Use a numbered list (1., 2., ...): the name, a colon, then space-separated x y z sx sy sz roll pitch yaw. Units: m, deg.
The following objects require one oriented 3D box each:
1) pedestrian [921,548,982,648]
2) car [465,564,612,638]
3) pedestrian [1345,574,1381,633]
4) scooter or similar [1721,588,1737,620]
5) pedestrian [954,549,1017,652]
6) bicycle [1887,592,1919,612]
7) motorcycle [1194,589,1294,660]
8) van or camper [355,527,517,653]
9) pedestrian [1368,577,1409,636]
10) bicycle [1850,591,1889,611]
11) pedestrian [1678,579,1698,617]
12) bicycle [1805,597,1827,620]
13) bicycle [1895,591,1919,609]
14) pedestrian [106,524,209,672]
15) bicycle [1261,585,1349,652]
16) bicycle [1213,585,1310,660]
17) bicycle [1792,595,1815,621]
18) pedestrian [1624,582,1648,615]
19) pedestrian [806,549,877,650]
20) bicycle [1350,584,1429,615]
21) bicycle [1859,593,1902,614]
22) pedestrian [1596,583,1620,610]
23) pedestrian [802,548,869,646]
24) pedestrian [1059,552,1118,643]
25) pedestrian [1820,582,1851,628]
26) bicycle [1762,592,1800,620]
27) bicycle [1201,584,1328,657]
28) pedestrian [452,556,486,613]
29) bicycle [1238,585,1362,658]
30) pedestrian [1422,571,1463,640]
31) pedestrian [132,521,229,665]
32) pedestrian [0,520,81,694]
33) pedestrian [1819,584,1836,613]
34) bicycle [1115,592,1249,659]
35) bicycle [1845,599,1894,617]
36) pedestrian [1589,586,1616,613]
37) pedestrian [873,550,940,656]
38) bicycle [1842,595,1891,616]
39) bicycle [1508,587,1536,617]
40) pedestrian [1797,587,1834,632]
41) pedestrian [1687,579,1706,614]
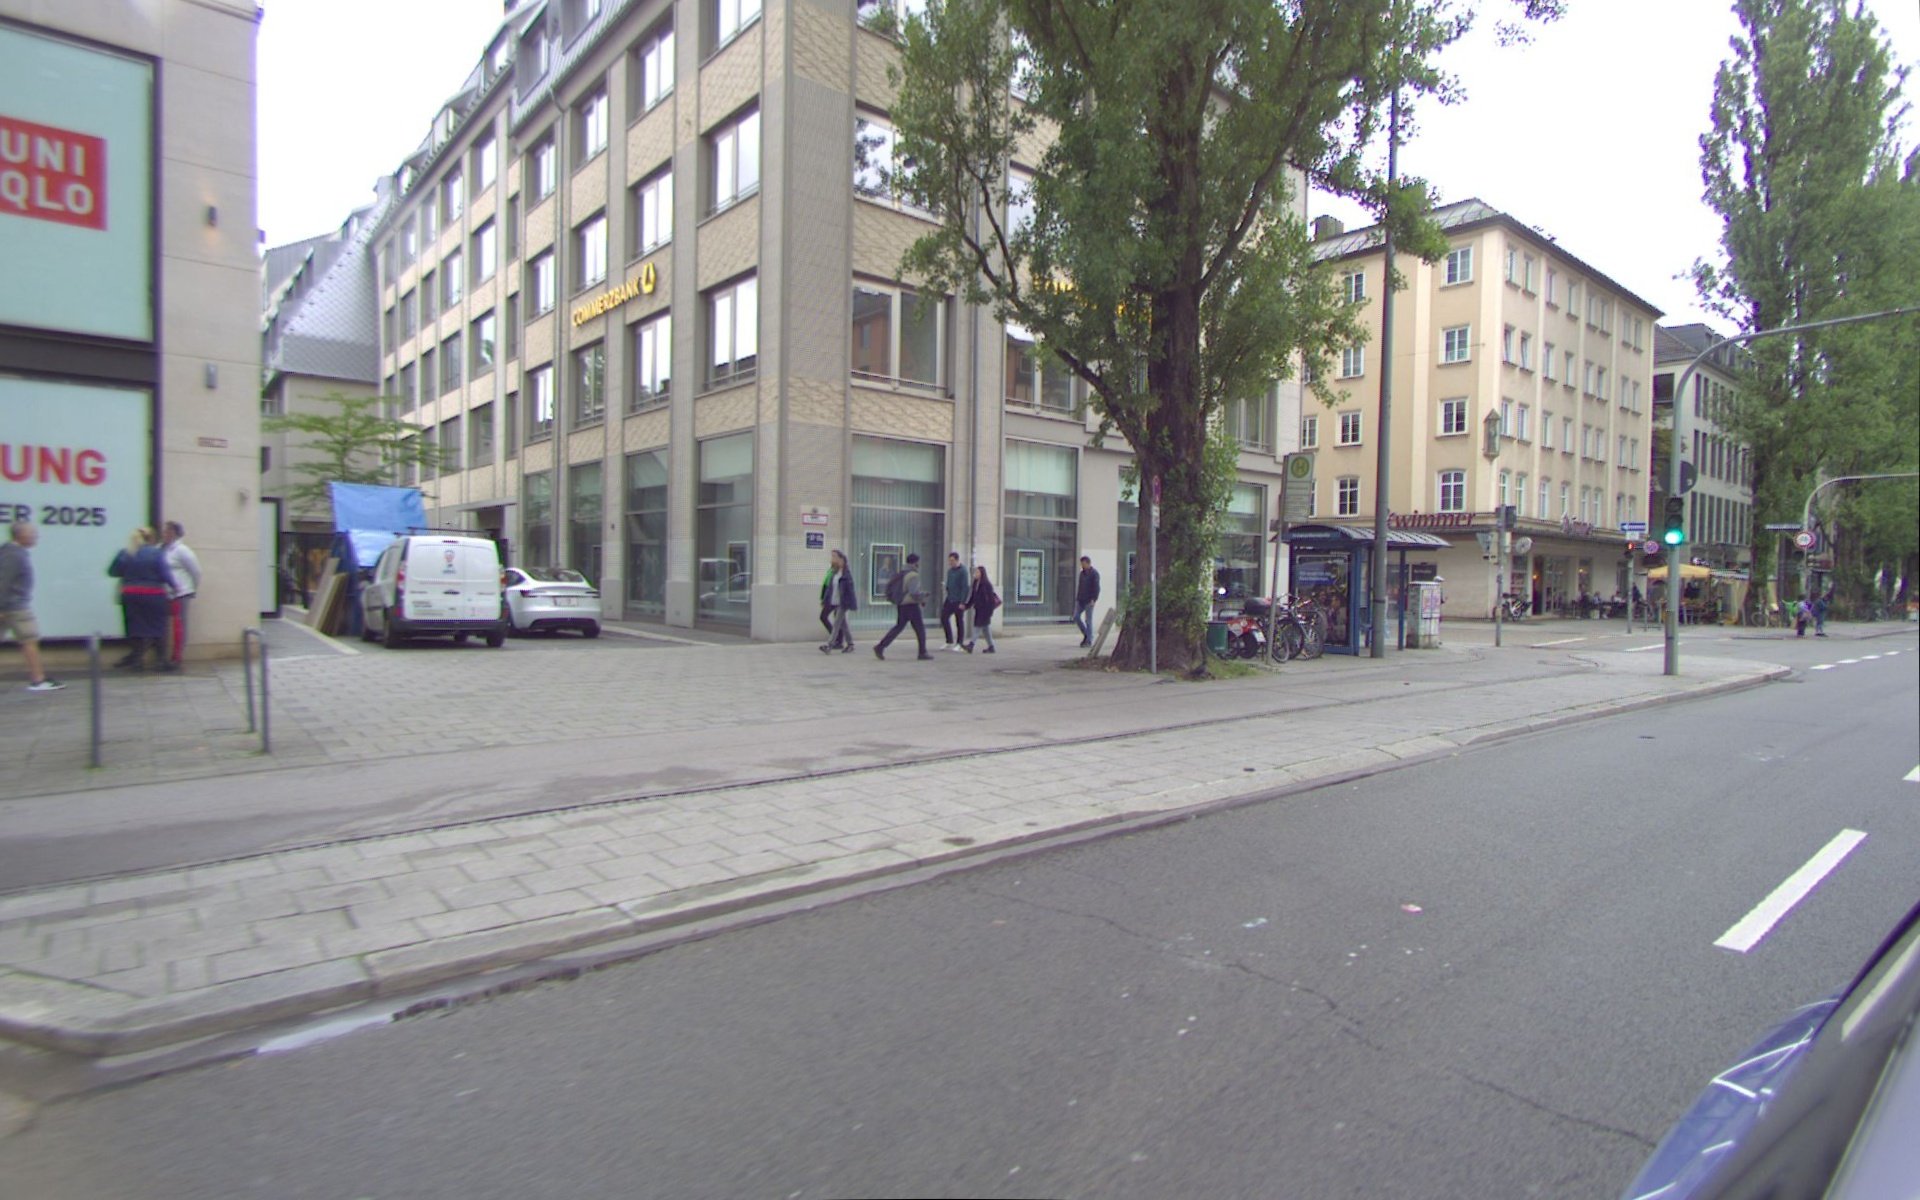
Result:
1. pedestrian: -0.153 -0.059 18.691 0.844 1.779 0.752 -2 3 -39
2. car: -9.070 -0.039 21.582 1.865 1.405 4.312 0 2 -37
3. pedestrian: 12.518 0.102 31.438 0.698 1.780 0.752 0 1 -39
4. scooter or similar: 31.348 0.156 41.247 0.405 1.259 1.355 1 1 33
5. pedestrian: 0.464 -0.014 18.183 0.844 1.779 0.752 -2 3 -39
6. bicycle: 62.992 0.129 66.746 0.948 1.230 2.577 0 2 -40
7. motorcycle: 5.005 0.407 17.911 0.500 1.154 1.729 0 2 -39
8. van or camper: -9.069 -0.171 17.347 1.863 1.890 4.116 -1 1 -36
9. pedestrian: 13.077 0.189 30.888 0.999 1.780 0.752 0 1 -39
10. bicycle: 53.829 0.070 59.911 1.657 1.121 0.391 2 1 39
11. pedestrian: 32.737 -0.095 45.529 0.526 1.694 0.542 0 1 -33
12. bicycle: 38.514 0.361 45.531 1.740 0.987 0.509 0 1 -43
13. bicycle: 63.848 0.005 67.663 0.674 1.141 1.902 0 1 -40
14. pedestrian: -9.543 -0.034 12.046 0.946 1.683 0.653 0 1 -40
15. bicycle: 6.977 0.335 20.575 0.467 1.268 2.252 0 1 -16
16. bicycle: 5.416 0.373 18.256 0.441 1.254 1.729 0 2 -39
17. bicycle: 35.688 0.309 42.811 1.740 1.061 0.509 0 1 -43
18. pedestrian: 33.048 -0.085 49.456 0.687 1.609 0.777 0 1 -40
19. pedestrian: -2.055 -0.024 17.559 0.945 1.698 0.752 0 1 -39
20. bicycle: 18.266 -0.021 43.132 0.982 1.268 2.976 -1 1 -40
21. bicycle: 54.969 0.201 60.430 1.864 1.149 0.335 2 1 42
22. pedestrian: 30.661 -0.164 47.880 0.687 1.280 0.777 0 1 -40
23. pedestrian: -2.278 -0.062 18.474 0.945 1.739 0.752 0 1 -39
24. pedestrian: 2.651 -0.064 20.868 0.875 1.840 0.819 0 1 -42
25. pedestrian: 31.837 0.171 36.803 0.850 1.630 0.766 0 1 -44
26. bicycle: 33.724 0.244 41.585 1.774 1.084 0.406 -1 -4 -25
27. bicycle: 5.715 0.354 19.141 0.622 1.268 2.348 0 1 -40
28. pedestrian: -14.375 -0.455 29.610 0.738 1.643 0.963 0 1 -34
29. bicycle: 6.411 0.369 19.206 0.469 1.268 2.320 0 1 -40
30. pedestrian: 12.817 0.136 26.897 0.739 1.780 0.710 0 1 -39
31. pedestrian: -9.849 -0.100 12.788 0.946 1.739 0.751 0 1 -40
32. pedestrian: -9.655 0.059 10.196 0.817 1.694 0.979 1 1 25
33. pedestrian: 56.573 -0.084 66.007 0.889 1.874 0.658 0 1 -39
34. bicycle: 3.756 0.404 17.301 0.859 1.029 2.152 0 1 -40
35. bicycle: 50.911 0.422 56.666 1.997 0.957 0.282 2 1 42
36. pedestrian: 29.553 -0.015 46.583 0.687 1.213 0.870 0 1 -40
37. pedestrian: -0.882 0.036 16.666 0.912 1.686 0.561 0 2 -39
38. bicycle: 50.583 0.289 56.478 1.996 1.096 0.282 2 1 41
39. bicycle: 22.656 0.085 40.776 1.780 1.185 0.435 -1 0 -42
40. pedestrian: 30.219 0.322 35.755 0.608 1.536 0.769 0 2 4
41. pedestrian: 35.707 -0.170 49.060 0.526 1.694 0.542 0 1 -33
